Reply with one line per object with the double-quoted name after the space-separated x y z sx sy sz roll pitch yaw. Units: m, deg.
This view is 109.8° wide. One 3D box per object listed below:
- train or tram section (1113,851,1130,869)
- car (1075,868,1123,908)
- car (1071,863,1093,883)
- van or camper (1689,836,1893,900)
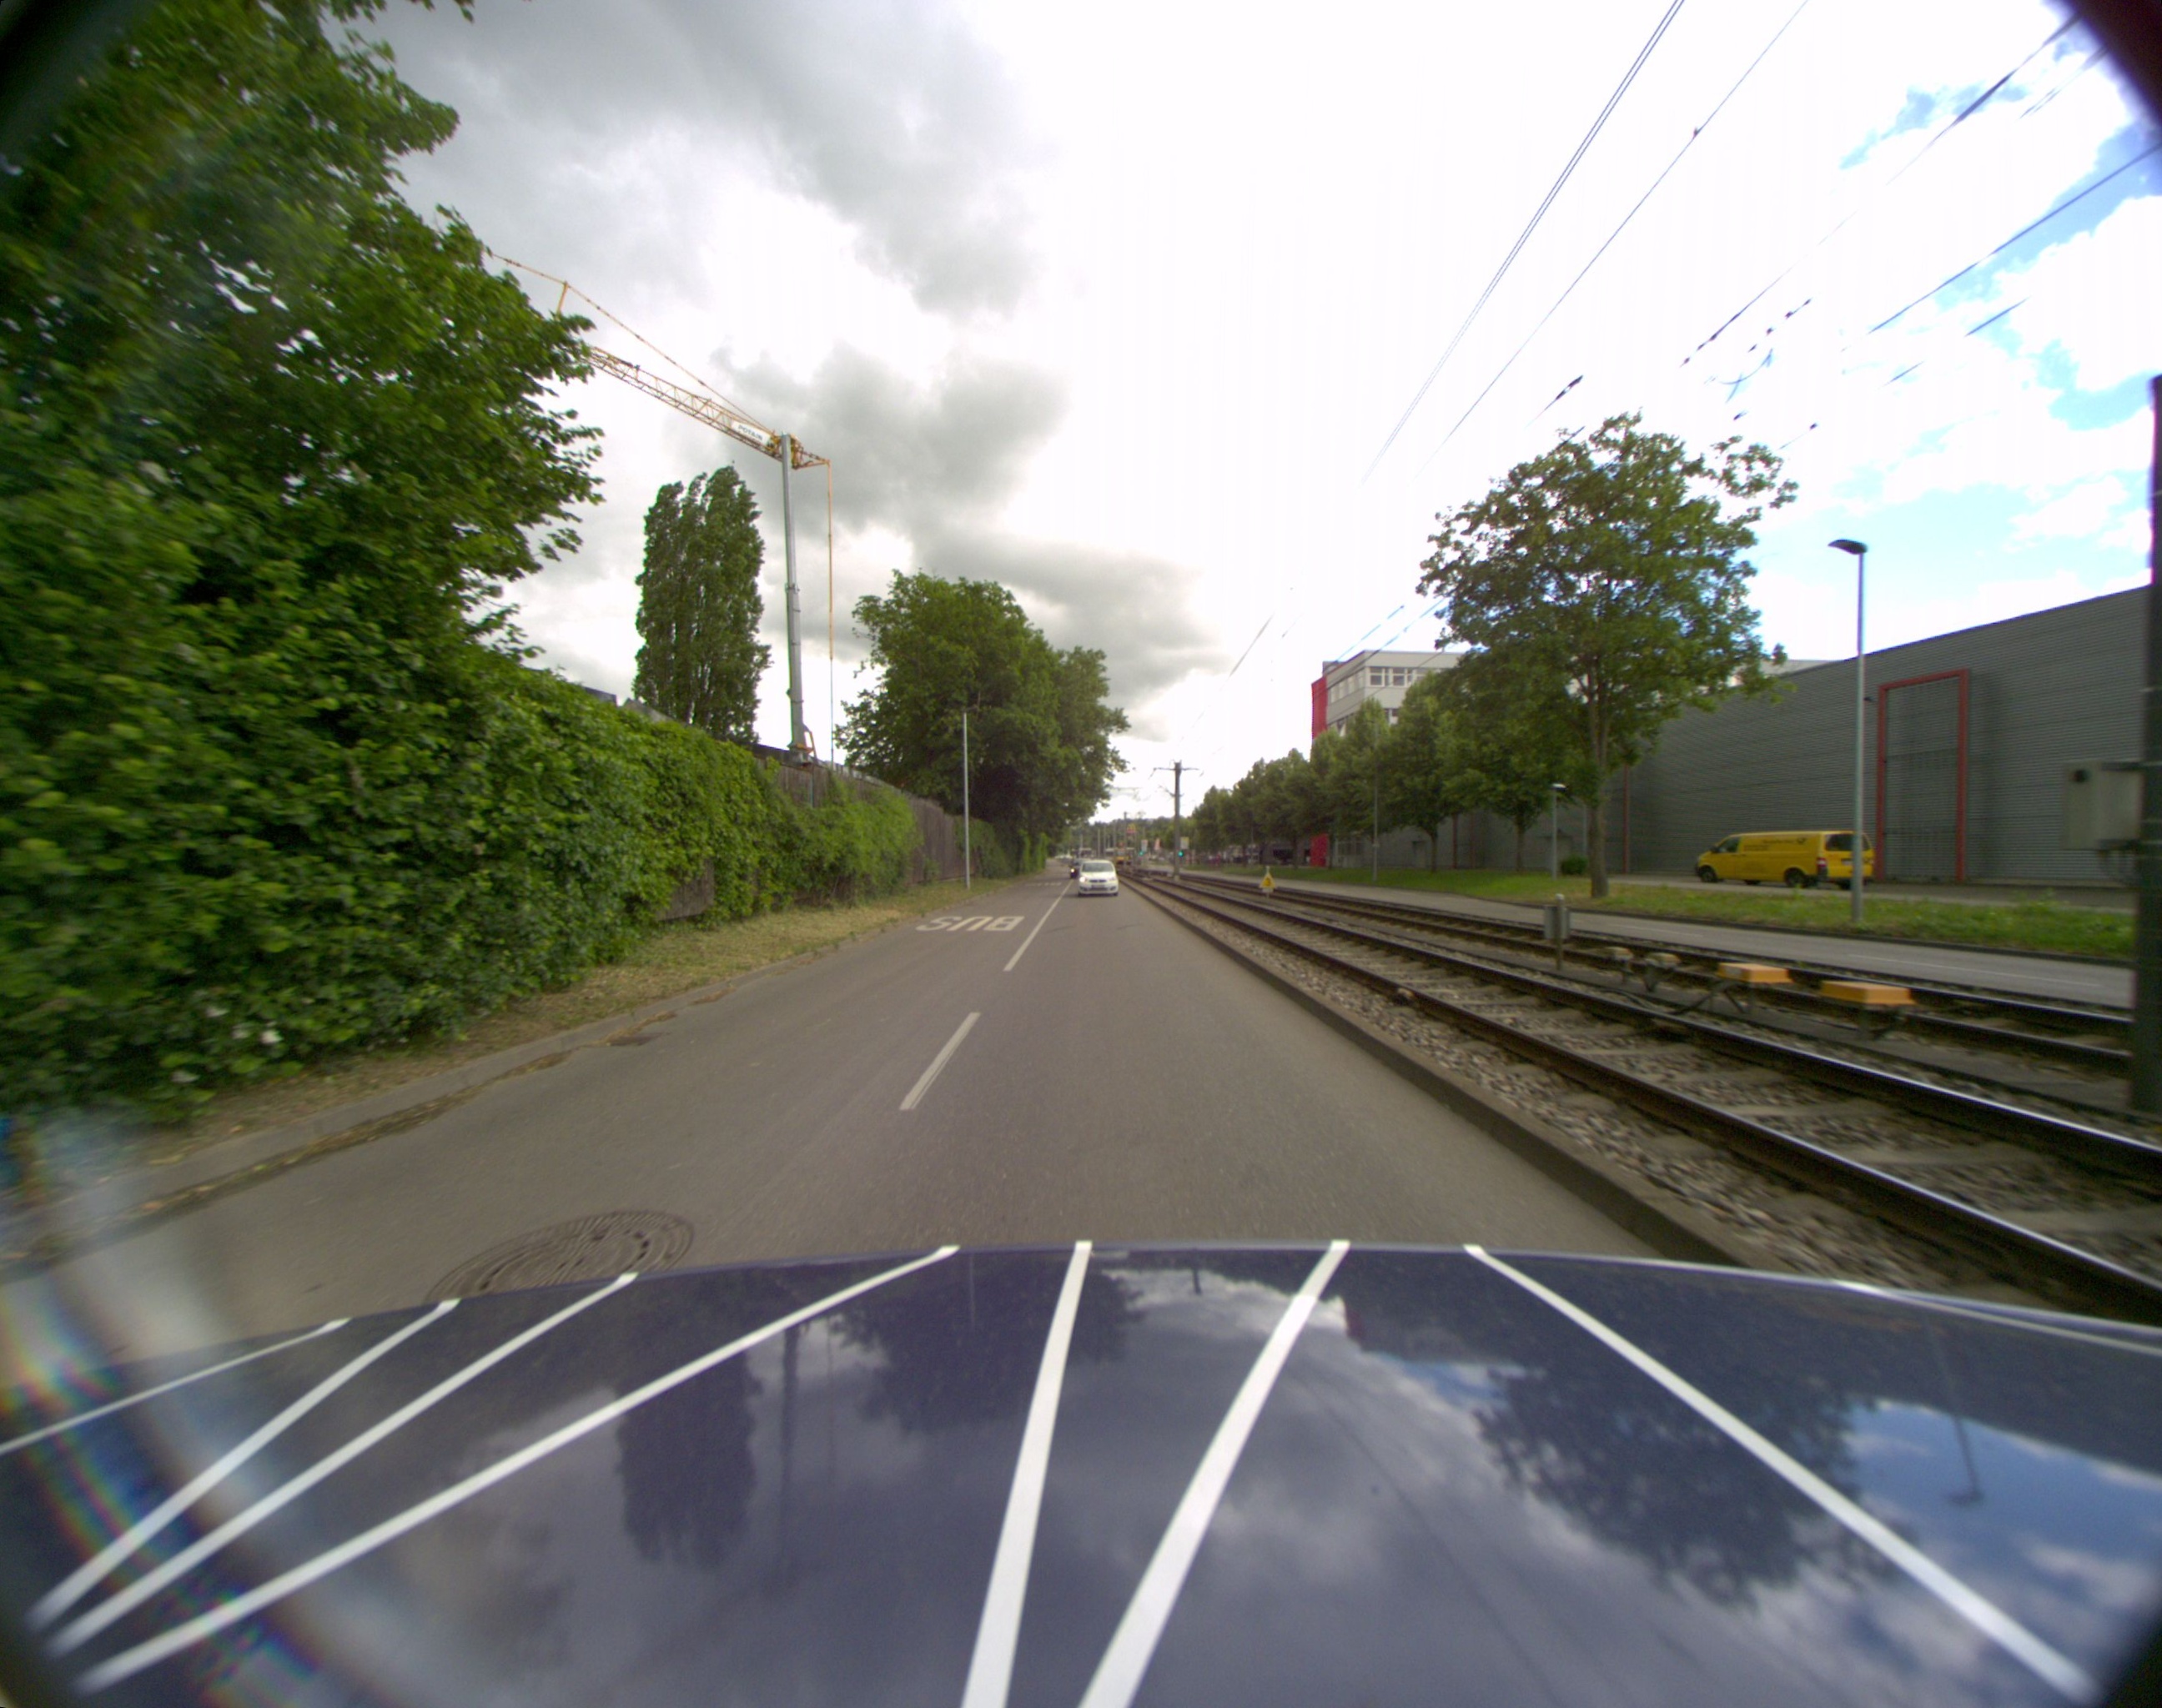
8.768 1.327 165.772 2.778 3.752 13.786 -1 -1 -1 "train or tram section"
0.686 1.336 31.088 1.765 1.469 4.031 -2 -1 0 "car"
0.107 1.518 62.088 1.714 1.586 4.000 -1 -1 1 "car"
24.555 0.483 26.655 2.109 2.001 5.242 -1 0 -3 "van or camper"
